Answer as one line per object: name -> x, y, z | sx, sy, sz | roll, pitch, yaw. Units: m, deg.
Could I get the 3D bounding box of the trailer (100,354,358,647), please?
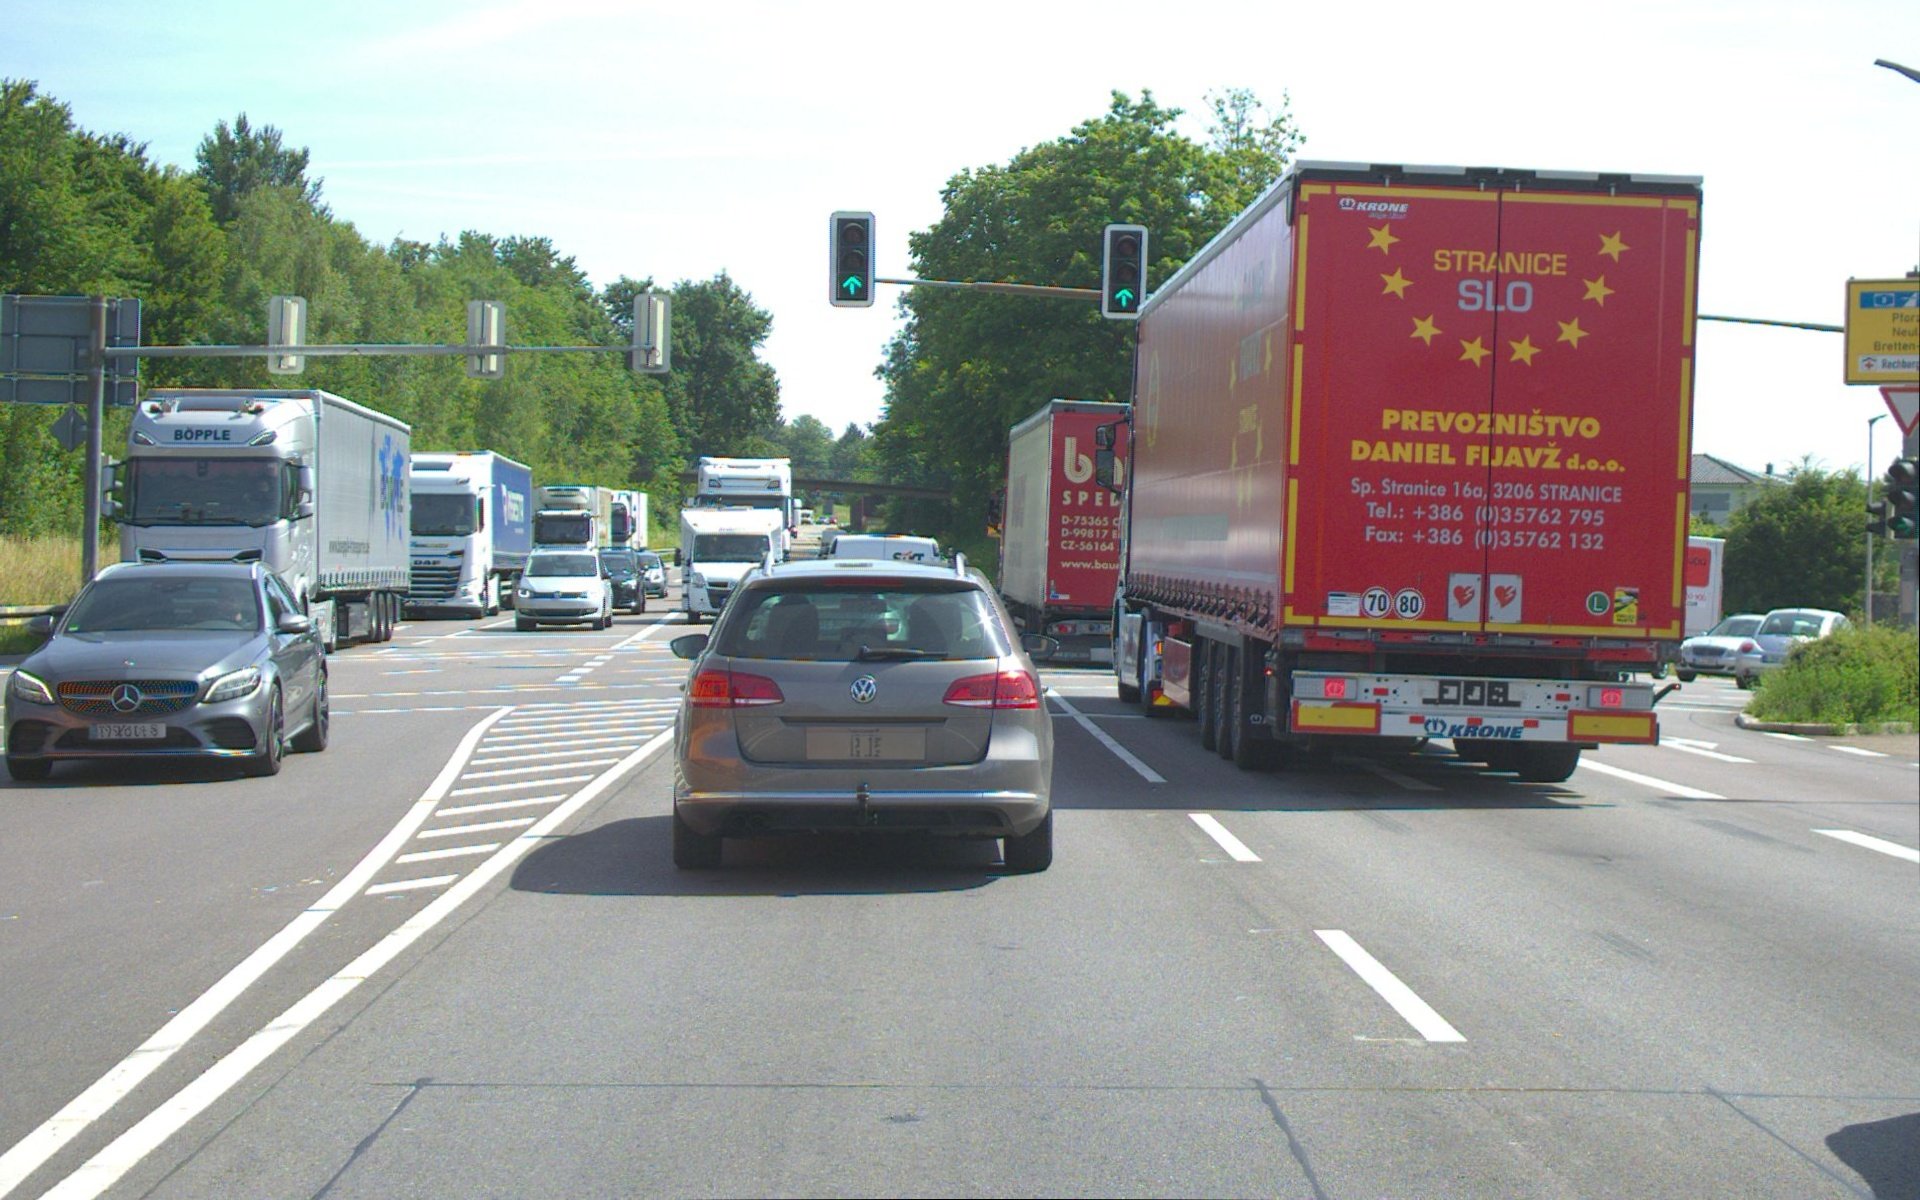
trailer -> -10.813, -1.438, 51.400 | 2.645, 4.091, 6.181 | 0, 1, -1

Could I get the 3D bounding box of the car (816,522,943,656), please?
car -> -1.250, -0.183, 51.912 | 1.770, 1.930, 3.978 | 0, 1, -3

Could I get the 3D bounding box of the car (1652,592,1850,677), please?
car -> 16.449, 0.739, 71.332 | 1.998, 1.500, 4.988 | 3, 0, 38

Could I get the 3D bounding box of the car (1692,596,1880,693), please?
car -> 14.821, 0.813, 61.562 | 1.997, 1.570, 3.992 | 4, 1, 33

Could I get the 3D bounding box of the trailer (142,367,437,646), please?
trailer -> -11.027, -1.477, 58.063 | 2.691, 4.133, 13.881 | 0, 1, -2

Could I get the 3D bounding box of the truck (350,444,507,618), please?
truck -> -12.908, -1.669, 83.988 | 3.187, 4.066, 6.347 | 0, 1, -3

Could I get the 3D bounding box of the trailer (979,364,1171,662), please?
trailer -> 1.676, -1.328, 55.457 | 2.395, 4.229, 13.079 | 0, 1, -1

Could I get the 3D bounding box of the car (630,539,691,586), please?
car -> -9.870, -1.247, 113.456 | 1.725, 1.497, 4.000 | 0, 1, -1

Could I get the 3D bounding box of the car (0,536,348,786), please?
car -> -5.717, 0.361, 25.015 | 1.921, 1.596, 4.589 | -1, 1, -3

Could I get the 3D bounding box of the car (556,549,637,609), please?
car -> -9.265, -0.548, 87.924 | 1.993, 1.480, 4.455 | 0, 1, -5

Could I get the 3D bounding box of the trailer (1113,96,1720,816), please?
trailer -> 3.124, -0.974, 27.907 | 2.839, 4.350, 13.168 | 2, 1, -1

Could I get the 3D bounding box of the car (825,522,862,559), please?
car -> -6.497, -3.317, 191.656 | 1.993, 2.007, 4.001 | 0, 1, -3

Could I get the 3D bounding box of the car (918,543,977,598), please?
car -> -0.479, -1.106, 127.992 | 1.993, 2.007, 4.001 | 0, 1, -3

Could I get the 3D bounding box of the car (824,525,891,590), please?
car -> -3.275, -1.363, 109.257 | 1.993, 2.007, 4.001 | 0, 1, -3

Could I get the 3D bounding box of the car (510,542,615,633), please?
car -> -8.235, -0.287, 71.516 | 1.843, 1.726, 4.589 | 2, 1, -3

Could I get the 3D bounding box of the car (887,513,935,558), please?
car -> -2.251, -2.941, 156.767 | 1.993, 2.007, 4.001 | 0, 1, -3

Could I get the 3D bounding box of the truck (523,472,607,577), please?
truck -> -15.564, -2.949, 135.902 | 2.728, 3.985, 9.621 | 0, 1, -3

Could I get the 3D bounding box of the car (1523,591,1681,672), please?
car -> 13.650, 0.673, 72.951 | 1.709, 1.499, 3.747 | 3, 0, 38

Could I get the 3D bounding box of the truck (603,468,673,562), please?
truck -> -14.510, -3.796, 155.562 | 2.829, 4.102, 9.684 | 0, 1, -4

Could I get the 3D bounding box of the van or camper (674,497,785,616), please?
van or camper -> -5.233, -1.002, 78.870 | 2.330, 2.591, 6.979 | 0, 1, -2

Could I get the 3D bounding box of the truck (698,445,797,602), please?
truck -> -5.742, -2.024, 92.530 | 2.536, 4.074, 6.267 | 0, 1, -4

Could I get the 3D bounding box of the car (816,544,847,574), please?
car -> -8.604, -2.751, 229.696 | 1.993, 2.007, 4.001 | 0, 1, -3

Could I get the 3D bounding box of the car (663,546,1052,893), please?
car -> -0.558, 0.497, 17.005 | 1.691, 1.508, 4.001 | 0, 1, -3

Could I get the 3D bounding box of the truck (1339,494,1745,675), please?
truck -> 14.719, -0.374, 86.828 | 9.667, 3.616, 2.768 | 6, -1, -19

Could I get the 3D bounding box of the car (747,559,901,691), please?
car -> -1.677, 0.264, 41.510 | 1.770, 1.508, 4.001 | 0, 1, -3

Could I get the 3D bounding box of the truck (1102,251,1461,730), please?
truck -> 3.057, -1.035, 34.336 | 2.870, 4.266, 5.839 | 2, 1, 0

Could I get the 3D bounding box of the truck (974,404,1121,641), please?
truck -> 1.534, -1.380, 62.566 | 2.406, 4.113, 5.521 | 0, 1, -1

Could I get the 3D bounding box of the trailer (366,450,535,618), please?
trailer -> -13.245, -1.690, 90.622 | 3.093, 4.066, 14.129 | 0, 1, -3
